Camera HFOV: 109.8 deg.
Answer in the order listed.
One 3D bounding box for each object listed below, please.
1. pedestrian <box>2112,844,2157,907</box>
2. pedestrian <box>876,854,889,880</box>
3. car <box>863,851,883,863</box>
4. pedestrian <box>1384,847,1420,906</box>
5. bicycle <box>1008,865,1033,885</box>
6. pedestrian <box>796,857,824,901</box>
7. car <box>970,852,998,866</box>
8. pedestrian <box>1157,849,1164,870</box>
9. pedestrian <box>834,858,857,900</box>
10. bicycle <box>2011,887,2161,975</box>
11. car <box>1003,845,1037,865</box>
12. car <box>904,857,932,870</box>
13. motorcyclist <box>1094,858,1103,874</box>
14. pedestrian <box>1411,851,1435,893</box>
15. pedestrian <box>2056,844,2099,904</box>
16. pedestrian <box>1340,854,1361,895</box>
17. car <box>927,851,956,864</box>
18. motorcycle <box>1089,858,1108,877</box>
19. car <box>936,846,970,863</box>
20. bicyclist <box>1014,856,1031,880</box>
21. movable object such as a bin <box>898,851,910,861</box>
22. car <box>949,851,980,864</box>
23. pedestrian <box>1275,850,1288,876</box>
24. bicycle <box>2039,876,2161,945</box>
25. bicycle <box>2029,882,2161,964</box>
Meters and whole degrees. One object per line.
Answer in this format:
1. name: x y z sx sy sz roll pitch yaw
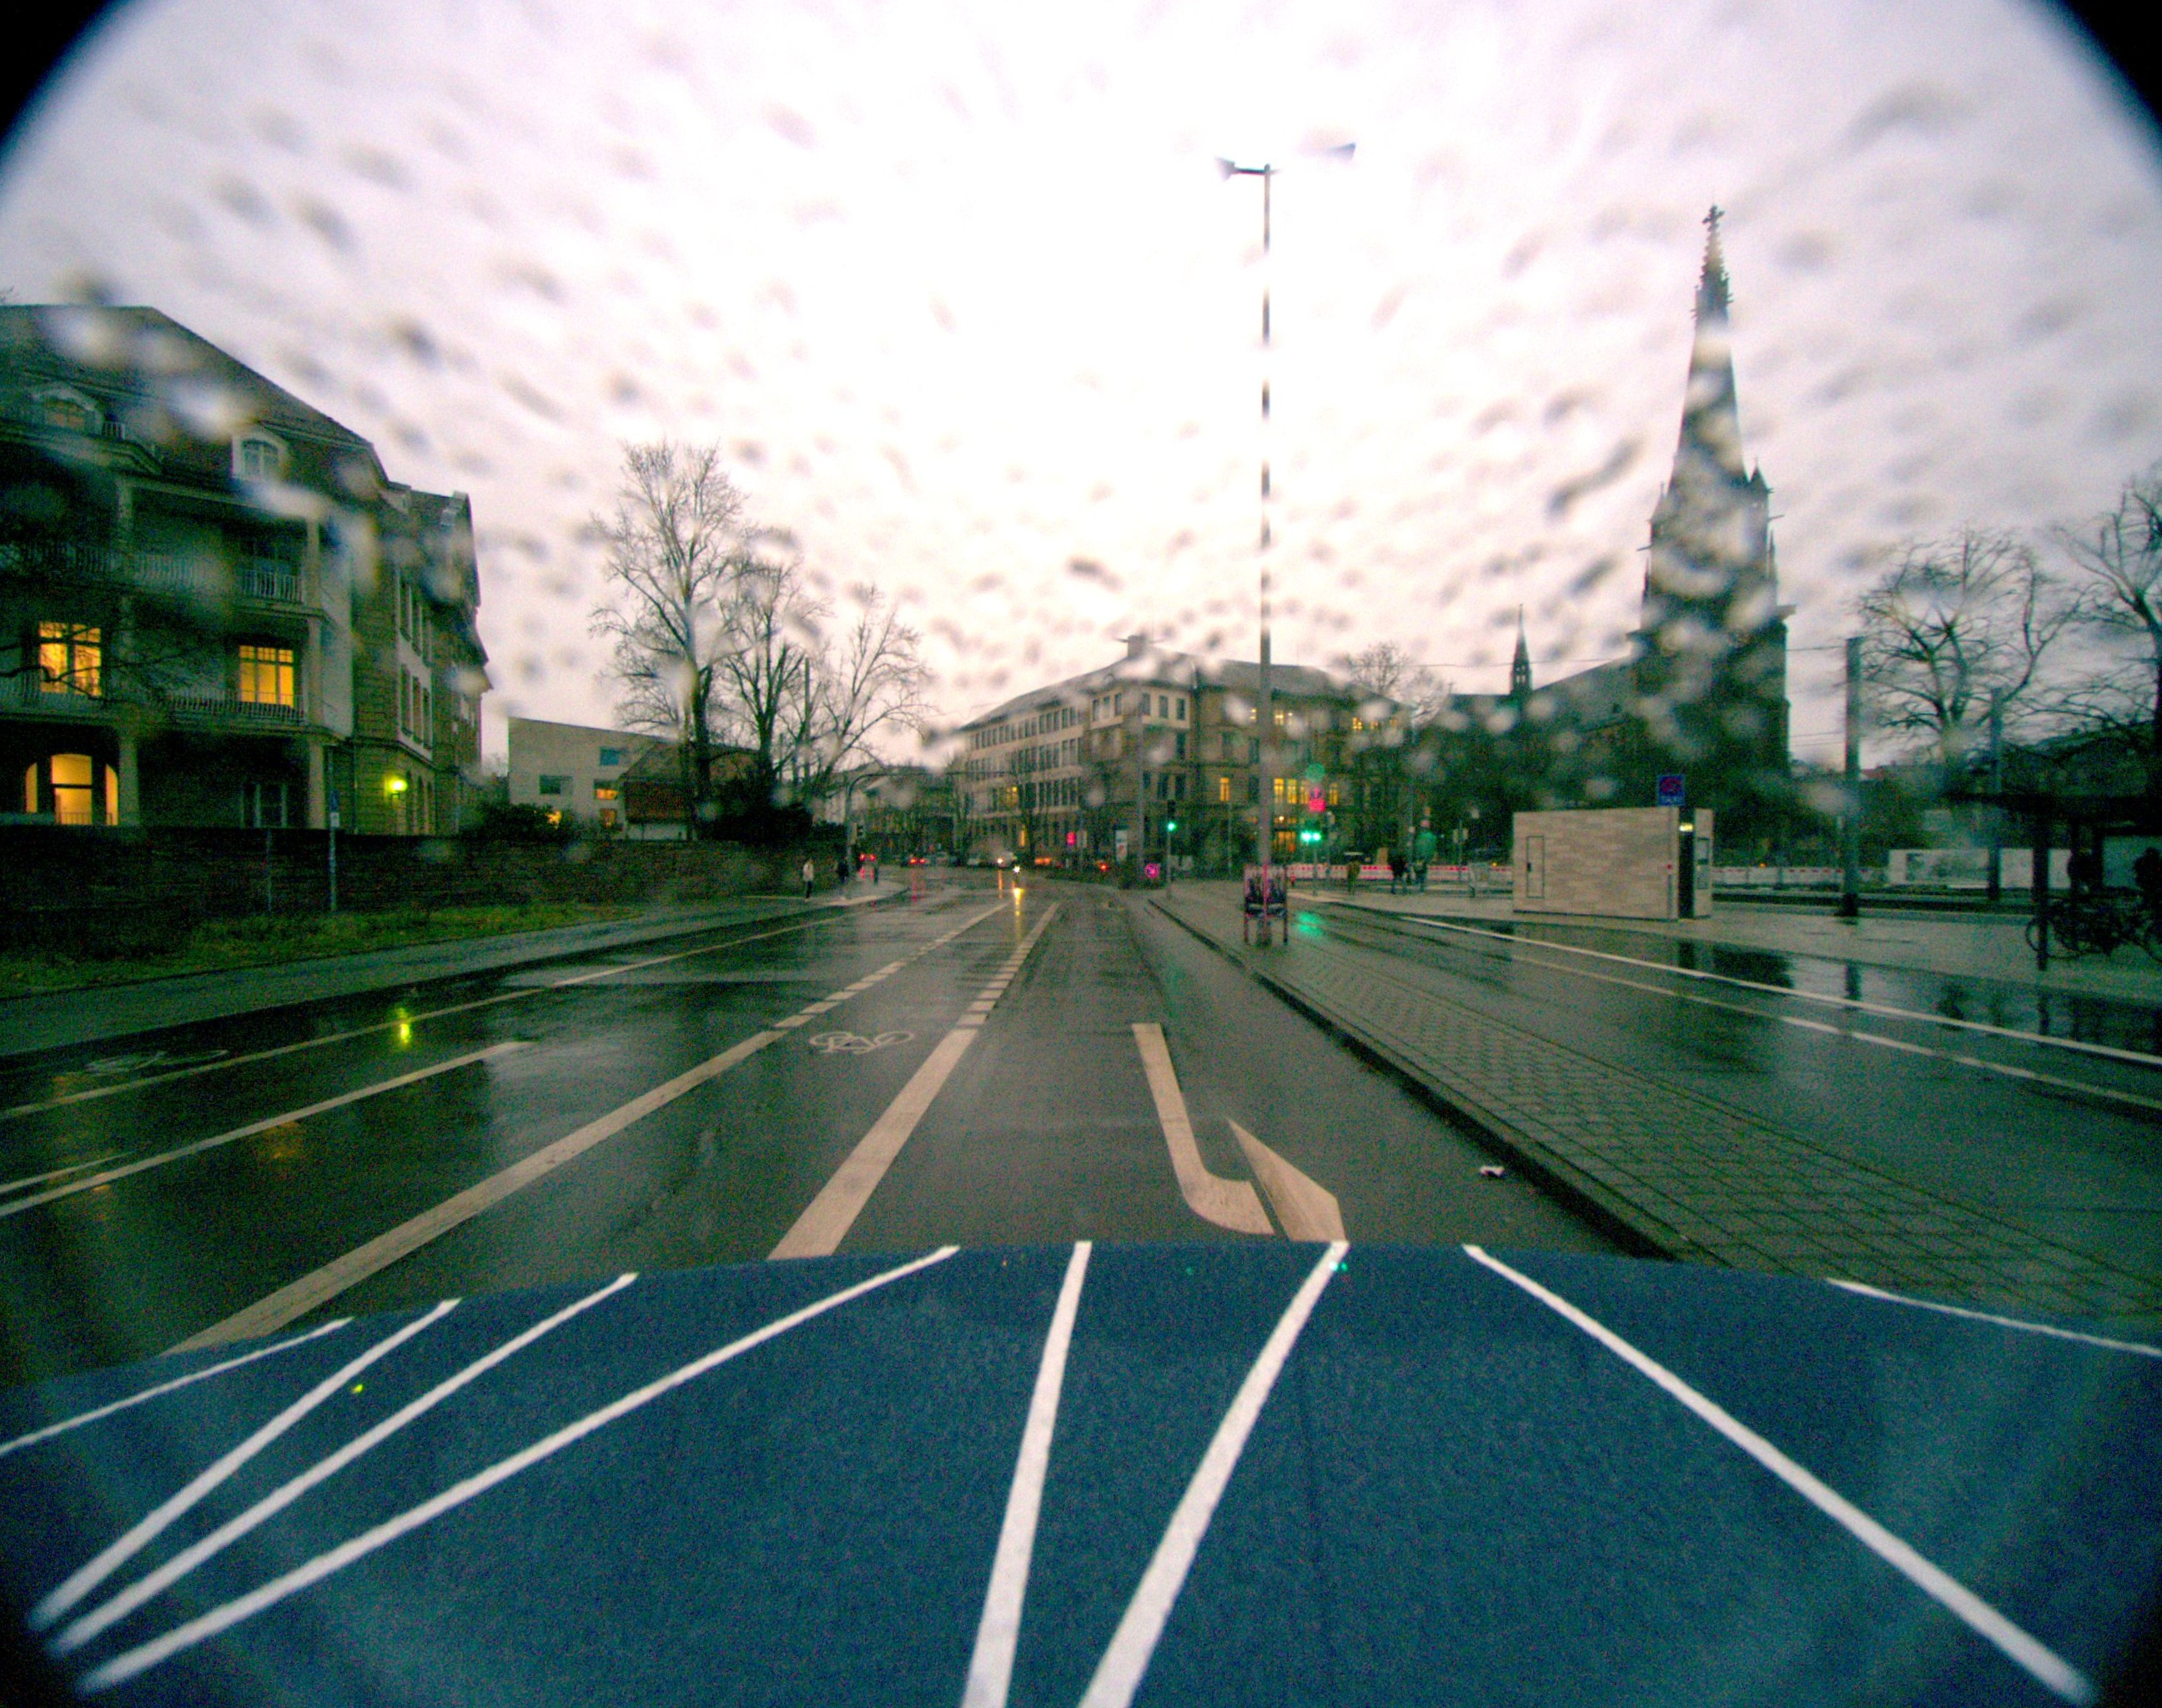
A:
1. pedestrian: 30.723 0.602 22.160 0.715 1.796 0.715 -2 2 -34
2. pedestrian: -12.919 0.855 49.400 0.808 1.675 1.155 1 0 -16
3. car: -28.779 0.392 105.171 1.763 1.652 4.519 1 0 -28
4. pedestrian: 13.322 0.899 31.599 0.996 2.357 1.063 -2 3 -4
5. bicycle: -3.467 1.205 43.267 0.725 1.084 2.281 -2 0 -23
6. pedestrian: -10.542 0.968 29.539 0.963 1.666 0.778 1 1 -21
7. car: -12.106 0.604 94.981 1.633 1.449 3.831 -1 2 23
8. pedestrian: 7.532 0.519 71.739 0.571 2.003 0.587 -1 3 5
9. pedestrian: -9.516 1.000 30.686 0.792 1.666 0.729 1 1 -12
10. bicycle: 15.552 1.135 11.397 0.551 1.158 1.938 -3 3 -29
11. car: -6.778 0.068 84.934 1.908 2.022 4.809 -1 2 19
12. car: -19.513 1.129 90.692 1.756 1.370 4.354 1 0 -34
13. motorcyclist: 1.402 0.929 60.305 0.538 1.187 0.610 -2 3 -17
14. pedestrian: 15.280 0.809 33.940 0.604 1.803 0.825 -4 1 1
15. pedestrian: 30.167 0.588 23.001 0.715 1.747 0.715 -2 2 -34
16. pedestrian: 11.549 0.869 32.529 0.673 1.665 0.731 0 3 32
17. car: -19.531 0.460 106.291 1.771 1.582 4.191 0 2 27
18. motorcycle: 1.407 1.053 60.310 0.832 1.488 2.311 0 1 -16
19. car: -17.032 0.057 101.474 1.961 2.042 4.629 0 2 29
20. bicyclist: -3.353 0.785 43.325 0.718 1.335 0.718 -3 3 -23
21. movable object such as a bin: -26.981 0.364 115.842 1.341 1.456 0.987 -1 3 19
22. car: -15.172 0.453 99.128 1.819 1.531 3.983 0 2 29
23. pedestrian: 15.794 0.729 59.752 0.646 2.003 0.740 -4 4 -44
24. bicycle: 19.753 1.057 14.404 0.551 1.158 1.894 -3 3 -29
25. bicycle: 16.600 1.087 12.034 0.551 1.158 1.894 -3 3 -29
